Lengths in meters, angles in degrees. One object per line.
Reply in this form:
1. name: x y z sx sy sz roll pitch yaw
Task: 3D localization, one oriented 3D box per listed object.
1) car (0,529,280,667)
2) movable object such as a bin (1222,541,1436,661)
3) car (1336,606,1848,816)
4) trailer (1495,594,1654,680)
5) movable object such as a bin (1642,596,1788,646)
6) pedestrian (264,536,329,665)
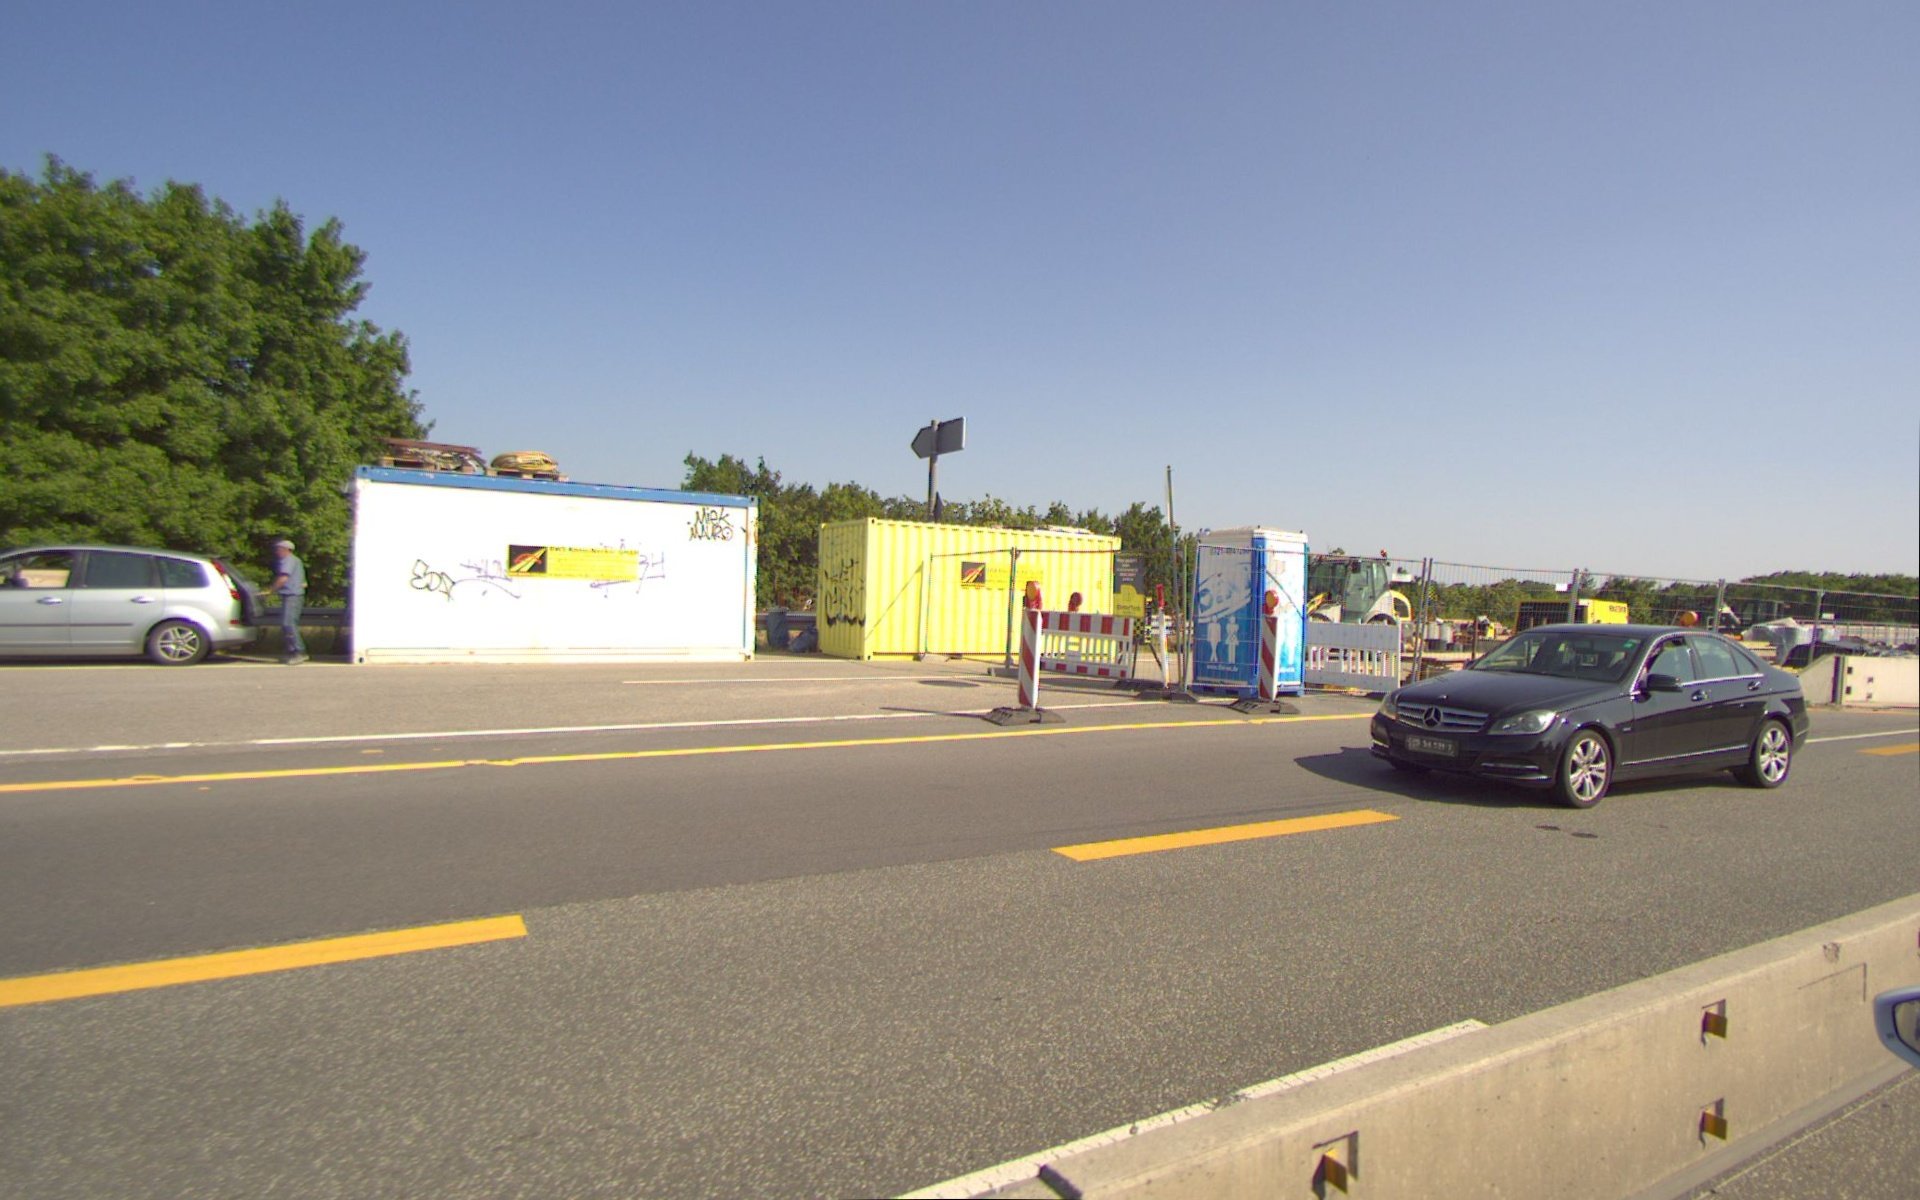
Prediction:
1. car: -11.789 -0.037 13.382 4.410 1.708 1.677 2 1 -33
2. movable object such as a bin: 9.269 0.067 25.195 5.038 2.752 2.025 2 1 -25
3. car: 5.916 0.880 9.332 4.623 1.493 1.852 1 2 -26
4. trailer: 13.445 0.785 21.935 3.500 1.671 1.707 2 2 -36
5. movable object such as a bin: 35.132 0.943 46.977 2.198 2.145 5.399 1 0 -11
6. pedestrian: -9.467 0.013 14.356 0.712 1.785 0.719 1 1 -30
